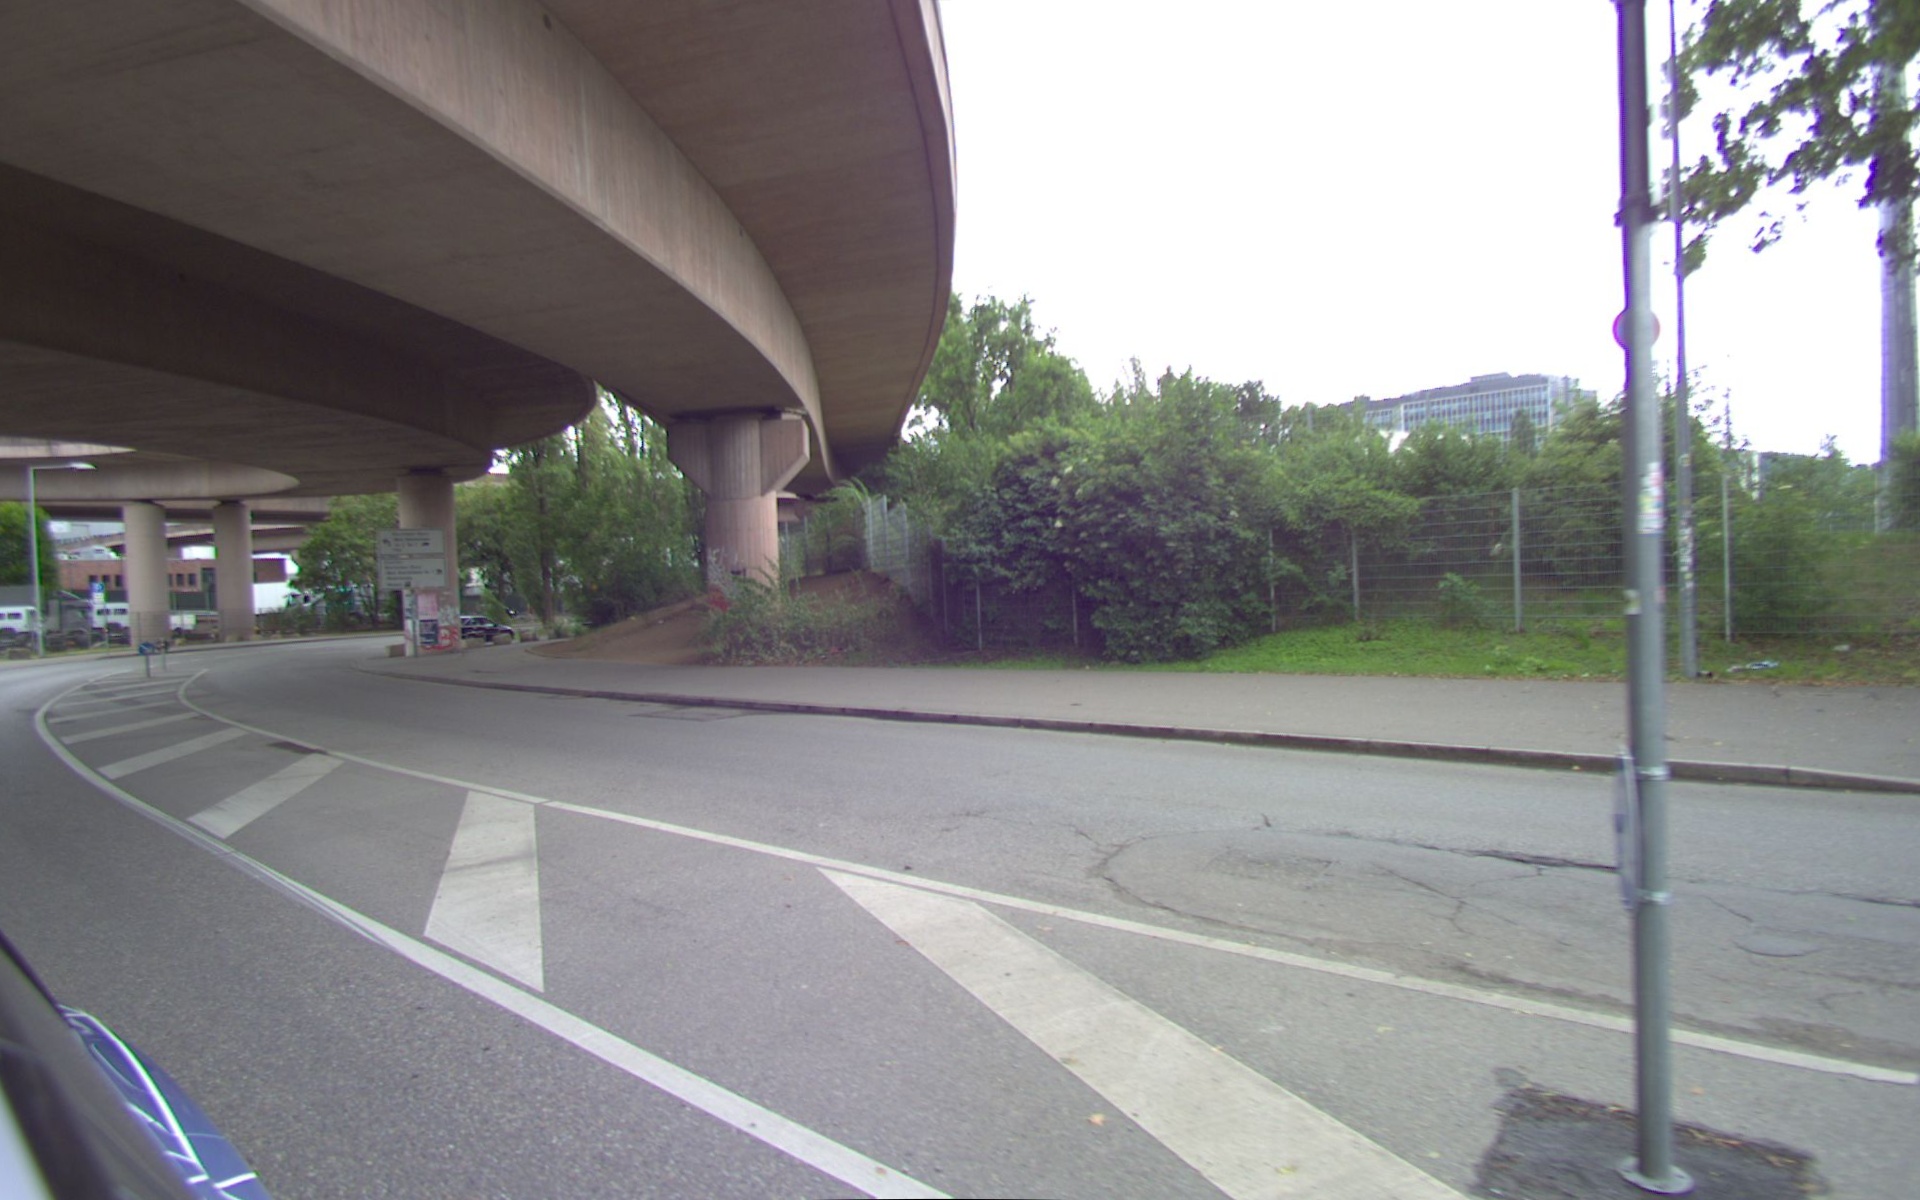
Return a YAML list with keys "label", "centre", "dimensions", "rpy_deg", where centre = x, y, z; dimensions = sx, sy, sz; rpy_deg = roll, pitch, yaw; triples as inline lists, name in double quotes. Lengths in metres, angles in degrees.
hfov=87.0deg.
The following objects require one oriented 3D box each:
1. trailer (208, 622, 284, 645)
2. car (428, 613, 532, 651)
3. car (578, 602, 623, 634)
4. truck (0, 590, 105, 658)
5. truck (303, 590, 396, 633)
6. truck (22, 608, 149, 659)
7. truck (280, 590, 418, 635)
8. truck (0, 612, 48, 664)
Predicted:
- label: "trailer"
  centre: [-49.007, 2.308, 69.553]
  dimensions: [1.588, 1.341, 4.368]
  rpy_deg: [-1, 1, 10]
- label: "car"
  centre: [-22.425, 1.475, 47.485]
  dimensions: [1.810, 1.441, 4.755]
  rpy_deg: [-4, 0, 13]
- label: "car"
  centre: [-23.604, 1.148, 66.379]
  dimensions: [1.825, 1.931, 4.989]
  rpy_deg: [-2, 1, -30]
- label: "truck"
  centre: [-65.003, 1.695, 68.606]
  dimensions: [3.906, 4.399, 10.012]
  rpy_deg: [-3, 0, 36]
- label: "truck"
  centre: [-51.274, 0.921, 85.121]
  dimensions: [2.269, 3.434, 6.328]
  rpy_deg: [-1, 1, 40]
- label: "truck"
  centre: [-52.151, 1.907, 60.649]
  dimensions: [2.385, 2.764, 7.252]
  rpy_deg: [-2, 0, -11]
- label: "truck"
  centre: [-53.044, 0.999, 88.223]
  dimensions: [2.267, 3.524, 10.088]
  rpy_deg: [-1, 1, 37]
- label: "truck"
  centre: [-55.418, 2.205, 57.251]
  dimensions: [2.421, 2.908, 6.126]
  rpy_deg: [-2, 0, -5]
